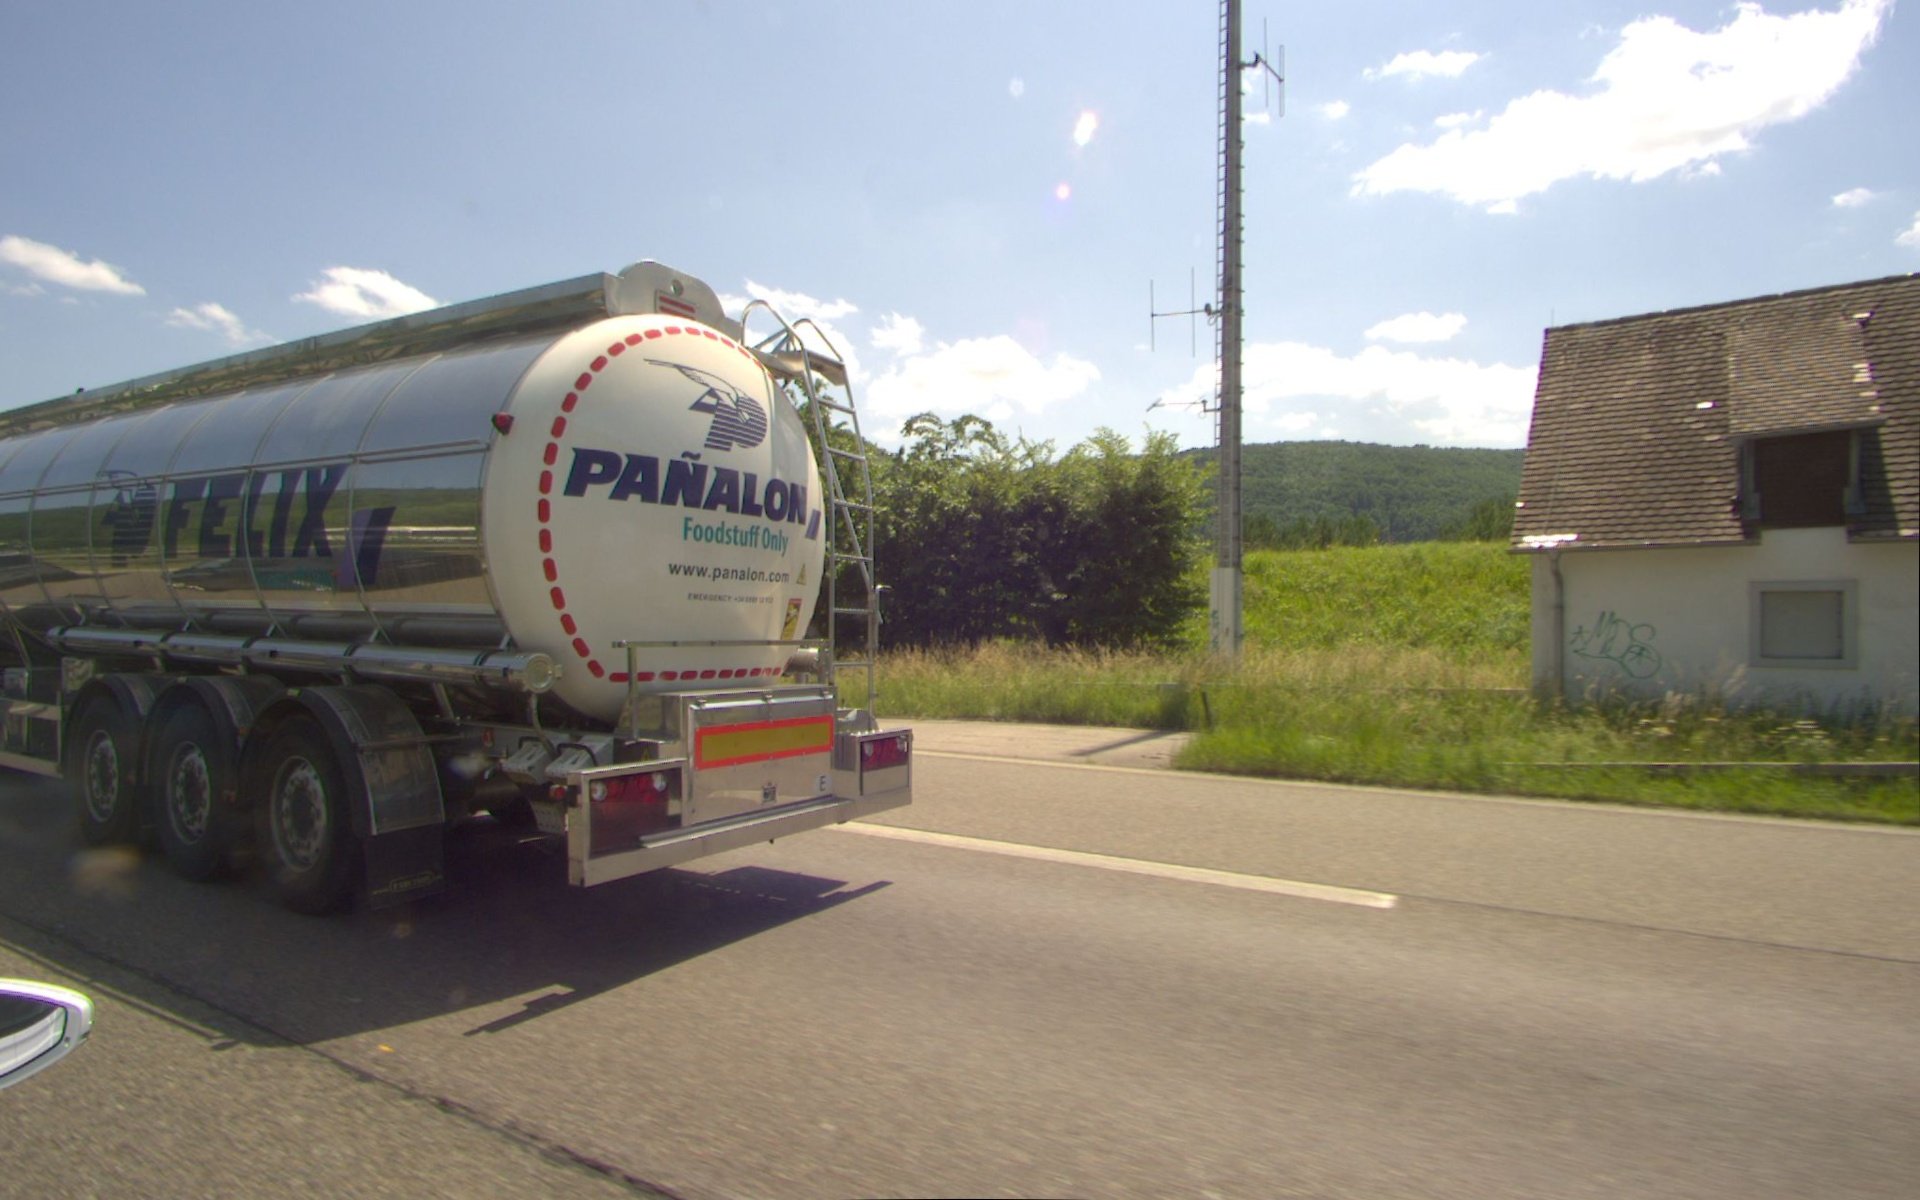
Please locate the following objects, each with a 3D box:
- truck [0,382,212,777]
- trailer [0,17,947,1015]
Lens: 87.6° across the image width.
[{"bbox_3d":[-11.192,-0.161,11.455,5.170,3.807,2.507,0,-1,32],"label":"truck"},{"bbox_3d":[-5.709,-0.236,7.986,11.719,3.784,2.534,-1,-1,32],"label":"trailer"}]
